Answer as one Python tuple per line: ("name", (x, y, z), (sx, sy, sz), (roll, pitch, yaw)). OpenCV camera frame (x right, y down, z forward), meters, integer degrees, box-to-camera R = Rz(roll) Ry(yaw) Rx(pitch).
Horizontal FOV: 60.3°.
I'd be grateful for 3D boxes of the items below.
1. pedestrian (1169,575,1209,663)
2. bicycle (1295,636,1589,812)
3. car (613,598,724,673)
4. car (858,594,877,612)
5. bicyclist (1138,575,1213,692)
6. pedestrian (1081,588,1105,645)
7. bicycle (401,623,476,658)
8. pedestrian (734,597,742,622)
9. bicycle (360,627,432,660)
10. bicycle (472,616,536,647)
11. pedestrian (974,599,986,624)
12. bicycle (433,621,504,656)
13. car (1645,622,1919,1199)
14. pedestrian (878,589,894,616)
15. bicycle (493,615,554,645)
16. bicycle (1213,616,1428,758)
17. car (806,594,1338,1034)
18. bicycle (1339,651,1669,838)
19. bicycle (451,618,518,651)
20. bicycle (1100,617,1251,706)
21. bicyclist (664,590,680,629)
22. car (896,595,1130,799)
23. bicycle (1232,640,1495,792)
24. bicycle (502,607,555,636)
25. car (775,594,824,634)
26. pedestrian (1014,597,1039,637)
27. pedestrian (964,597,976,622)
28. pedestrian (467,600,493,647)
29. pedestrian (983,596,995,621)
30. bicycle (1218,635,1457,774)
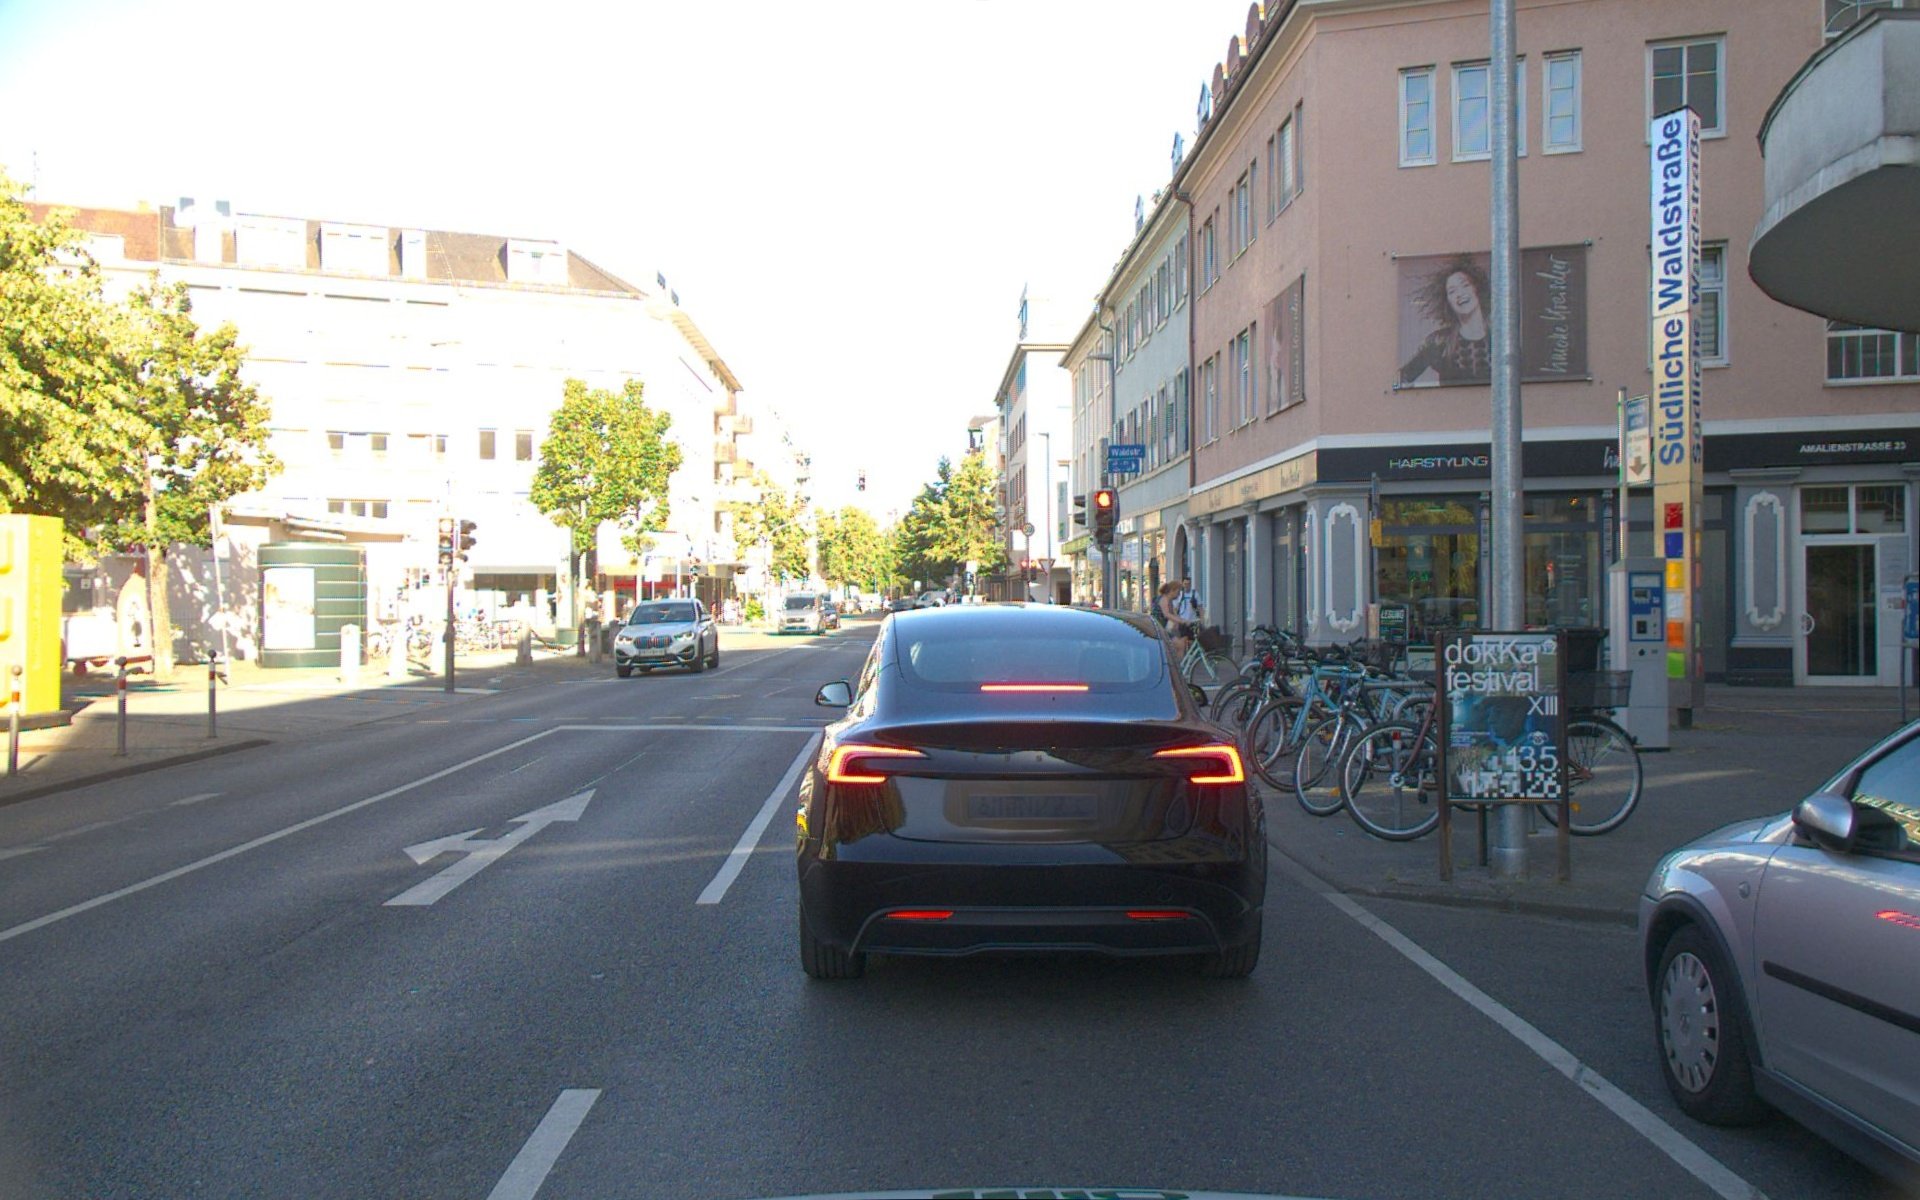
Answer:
("pedestrian", (4.756, 0.396, 34.369), (0.735, 1.796, 0.837), (-1, -1, 3))
("bicycle", (3.241, 0.832, 11.195), (1.834, 1.106, 0.414), (-2, -1, 3))
("car", (-6.289, 0.745, 36.053), (1.752, 1.485, 3.756), (-2, 0, -1))
("car", (-10.485, 0.317, 186.869), (1.953, 2.049, 3.999), (1, 0, -1))
("bicyclist", (2.865, 0.435, 21.957), (0.872, 1.508, 0.702), (0, 0, 17))
("pedestrian", (4.187, 0.521, 52.185), (0.692, 1.773, 0.540), (0, -1, -1))
("bicycle", (-14.169, 1.097, 44.982), (1.826, 0.950, 0.606), (0, 0, -2))
("pedestrian", (-13.250, 0.586, 98.556), (0.451, 1.486, 0.517), (0, 0, -6))
("bicycle", (-14.451, 1.114, 42.397), (1.612, 0.806, 0.606), (1, 0, -5))
("bicycle", (-14.330, 0.979, 51.981), (1.826, 0.950, 0.606), (0, 0, -2))
("pedestrian", (1.146, 0.648, 95.058), (0.516, 1.447, 0.474), (1, -1, -31))
("bicycle", (-14.029, 1.090, 47.203), (1.826, 0.950, 0.606), (1, 0, -2))
("car", (2.919, 0.773, 3.488), (1.515, 1.415, 3.476), (0, 0, 0))
("pedestrian", (-4.791, 0.164, 107.264), (0.708, 1.725, 0.843), (0, 0, -28))
("bicycle", (-14.366, 0.988, 54.429), (1.826, 0.950, 0.606), (0, 0, -2))
("bicycle", (3.199, 0.771, 14.788), (1.789, 1.189, 0.506), (-2, -1, 5))
("car", (0.352, 0.726, 7.552), (1.785, 1.467, 3.999), (0, 0, -1))
("bicycle", (3.263, 0.869, 10.004), (1.833, 1.056, 0.353), (-2, -1, 6))
("bicycle", (-14.265, 1.021, 49.673), (1.826, 0.950, 0.606), (1, 0, -2))
("bicycle", (2.862, 0.799, 21.956), (1.893, 1.137, 0.709), (0, -1, 18))
("bicyclist", (-11.486, 0.381, 65.888), (0.516, 1.530, 0.473), (1, -1, -24))
("car", (0.312, 0.691, 13.780), (1.683, 1.450, 3.755), (0, 0, -2))
("bicycle", (3.023, 0.868, 12.487), (1.834, 1.056, 0.533), (-2, -1, 3))
("bicycle", (-20.276, 1.027, 77.699), (2.334, 1.318, 0.509), (1, -1, -27))
("car", (-6.859, 0.576, 71.112), (1.751, 1.675, 4.401), (0, 0, -1))
("pedestrian", (2.801, 0.720, 69.343), (0.742, 1.660, 0.951), (1, -1, -18))
("pedestrian", (0.591, 0.541, 95.795), (0.467, 1.442, 0.516), (1, -1, -32))
("pedestrian", (-21.446, 1.037, 73.909), (1.041, 2.049, 1.049), (1, -1, -20))
("pedestrian", (1.698, 0.513, 95.872), (0.516, 1.447, 0.474), (1, -1, -31))
("bicycle", (3.086, 0.852, 13.631), (1.833, 1.056, 0.548), (-2, -1, 5))
